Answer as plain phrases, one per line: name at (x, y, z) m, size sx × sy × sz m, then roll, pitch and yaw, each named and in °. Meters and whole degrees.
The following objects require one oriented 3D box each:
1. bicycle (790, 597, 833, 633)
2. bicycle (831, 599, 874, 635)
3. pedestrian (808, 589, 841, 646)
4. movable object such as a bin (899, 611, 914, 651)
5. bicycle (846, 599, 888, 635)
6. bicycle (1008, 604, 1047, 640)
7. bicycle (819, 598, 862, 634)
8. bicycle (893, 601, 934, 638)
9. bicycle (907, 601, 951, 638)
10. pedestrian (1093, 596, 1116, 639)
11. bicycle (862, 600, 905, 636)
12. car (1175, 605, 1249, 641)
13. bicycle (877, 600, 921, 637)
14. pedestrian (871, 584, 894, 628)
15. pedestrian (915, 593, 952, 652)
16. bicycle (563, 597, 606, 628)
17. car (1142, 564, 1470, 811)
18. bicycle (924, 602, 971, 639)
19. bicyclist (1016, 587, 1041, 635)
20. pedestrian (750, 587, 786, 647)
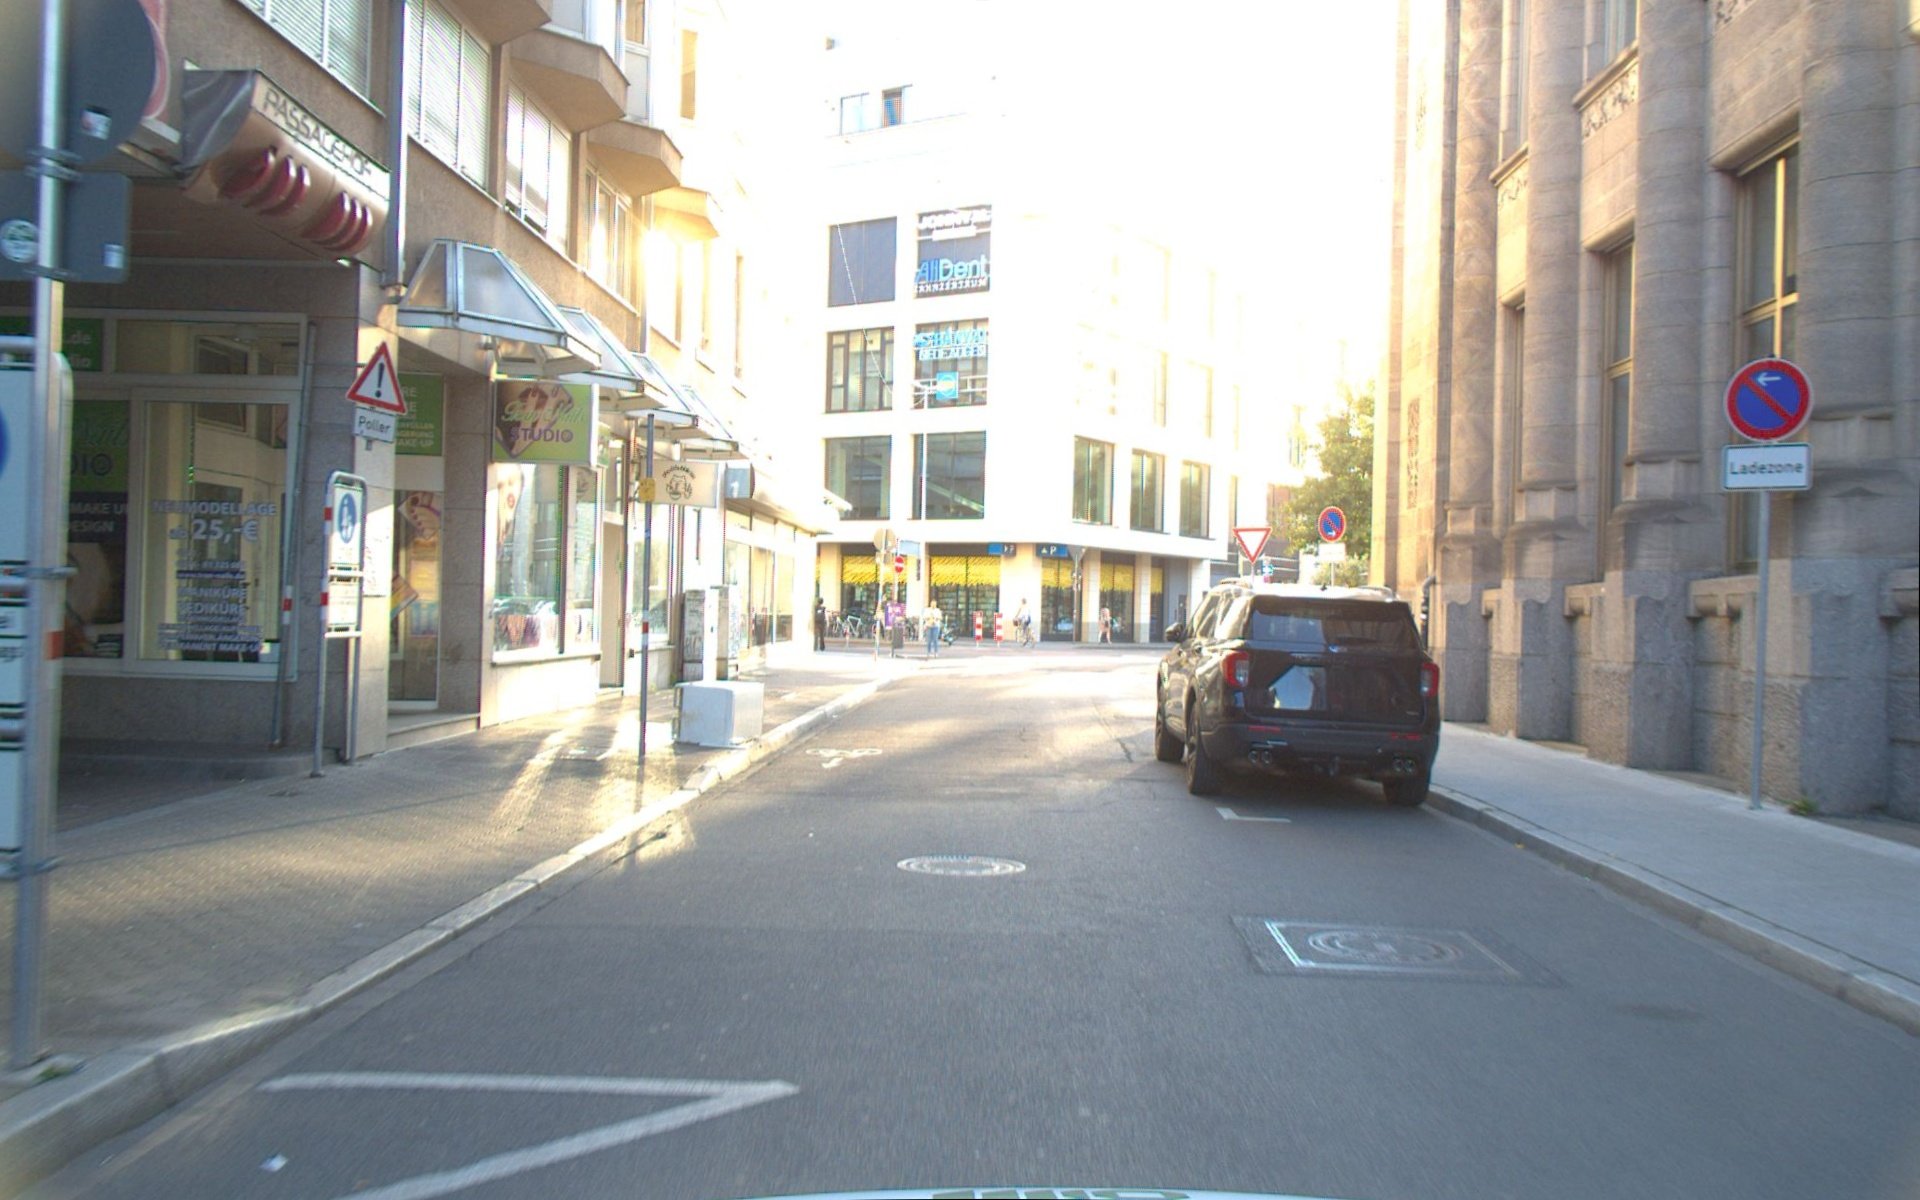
bicycle at (-5.574, 0.576, 62.091) m, size 0.502 × 1.277 × 1.974 m, roll 1°, pitch -1°, yaw 31°
bicycle at (-3.956, 0.625, 60.886) m, size 0.502 × 1.277 × 1.974 m, roll 1°, pitch -1°, yaw 31°
pedestrian at (-4.086, 0.525, 49.787) m, size 0.855 × 1.687 × 0.616 m, roll 2°, pitch 0°, yaw -16°
movable object such as a bin at (-1.498, 0.856, 45.932) m, size 0.352 × 1.082 × 0.355 m, roll 1°, pitch -1°, yaw -9°
bicycle at (-3.399, 0.643, 60.580) m, size 0.502 × 1.277 × 1.975 m, roll 1°, pitch -1°, yaw 30°
bicycle at (2.470, 0.804, 60.659) m, size 0.602 × 1.277 × 1.964 m, roll 2°, pitch -1°, yaw -24°
bicycle at (-4.411, 0.611, 61.215) m, size 0.502 × 1.277 × 1.974 m, roll 1°, pitch -1°, yaw 31°
bicycle at (-1.660, 0.696, 59.355) m, size 0.502 × 1.277 × 1.975 m, roll 2°, pitch -1°, yaw 29°
bicycle at (-1.100, 0.714, 59.074) m, size 0.570 × 1.277 × 2.040 m, roll 2°, pitch -1°, yaw 29°
pedestrian at (5.983, 0.720, 68.506) m, size 0.660 × 1.775 × 0.645 m, roll 1°, pitch -1°, yaw 33°
bicycle at (-2.765, 0.662, 60.140) m, size 0.502 × 1.277 × 1.974 m, roll 1°, pitch -1°, yaw 31°
car at (11.152, 1.024, 72.941) m, size 1.745 × 1.478 × 4.220 m, roll 1°, pitch 0°, yaw 31°
bicycle at (-2.187, 0.679, 59.665) m, size 0.503 × 1.277 × 1.973 m, roll 1°, pitch -1°, yaw 33°
pedestrian at (-3.141, 0.224, 66.928) m, size 0.627 × 1.753 × 0.840 m, roll 2°, pitch 0°, yaw -22°
pedestrian at (-0.747, 0.637, 46.758) m, size 0.793 × 1.641 × 0.728 m, roll 2°, pitch -1°, yaw -27°
bicycle at (-16.243, 0.543, 71.536) m, size 1.936 × 1.277 × 0.512 m, roll 2°, pitch -1°, yaw 31°
car at (2.894, 0.658, 15.004) m, size 1.952 × 1.814 × 4.935 m, roll 2°, pitch 0°, yaw 1°
bicycle at (-0.432, 0.736, 58.727) m, size 0.651 × 1.277 × 2.137 m, roll 2°, pitch -1°, yaw 29°
bicyclist at (2.502, 0.391, 60.680) m, size 0.673 × 1.725 × 0.639 m, roll 2°, pitch 0°, yaw -24°
pedestrian at (-5.344, 0.474, 46.063) m, size 0.716 × 1.641 × 0.805 m, roll 1°, pitch -1°, yaw 13°
